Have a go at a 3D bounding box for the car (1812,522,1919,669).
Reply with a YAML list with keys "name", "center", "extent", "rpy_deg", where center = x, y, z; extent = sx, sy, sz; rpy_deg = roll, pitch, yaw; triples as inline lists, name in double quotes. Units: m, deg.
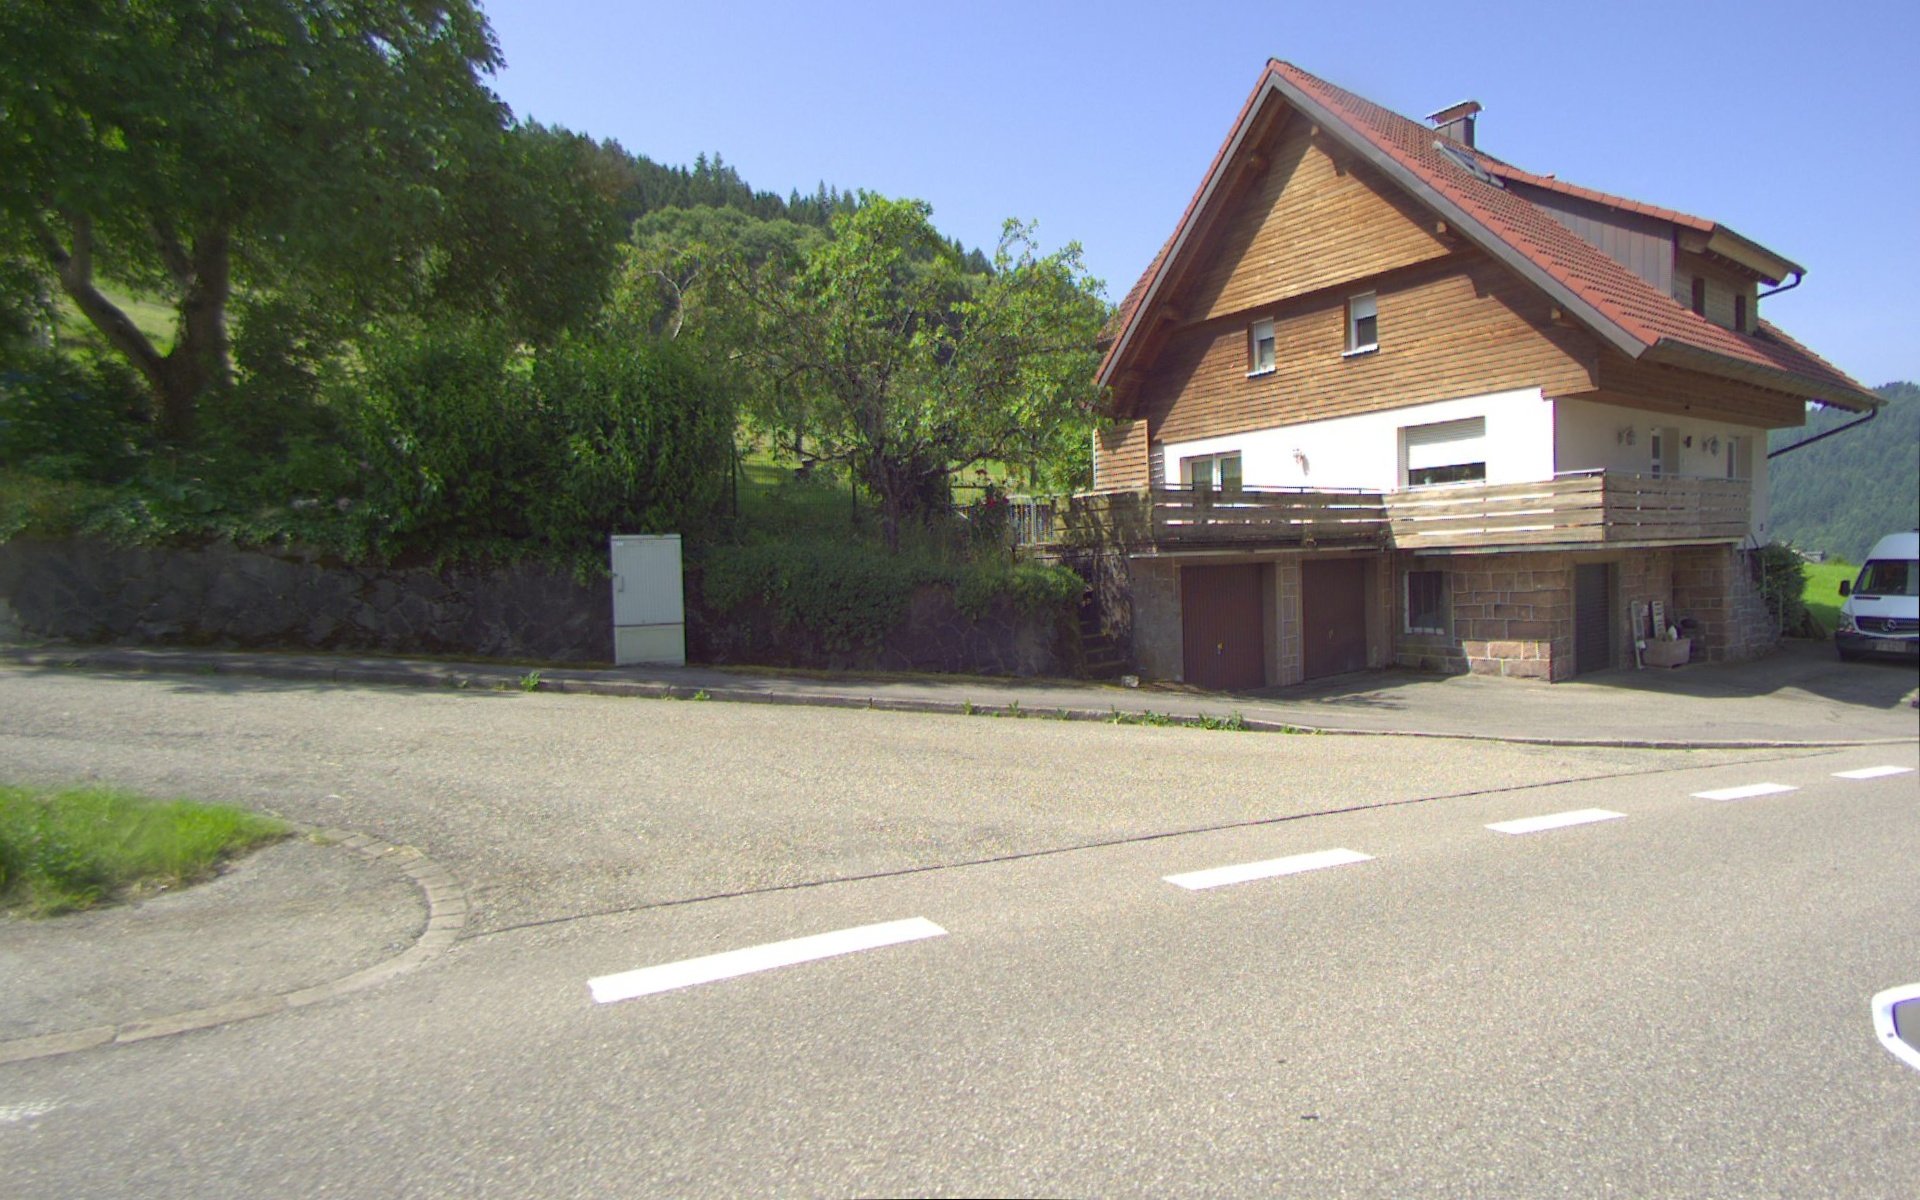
- name: "car"
  center: [20.539, -0.235, 21.002]
  extent: [7.092, 2.725, 2.056]
  rpy_deg: [-3, 3, -32]
